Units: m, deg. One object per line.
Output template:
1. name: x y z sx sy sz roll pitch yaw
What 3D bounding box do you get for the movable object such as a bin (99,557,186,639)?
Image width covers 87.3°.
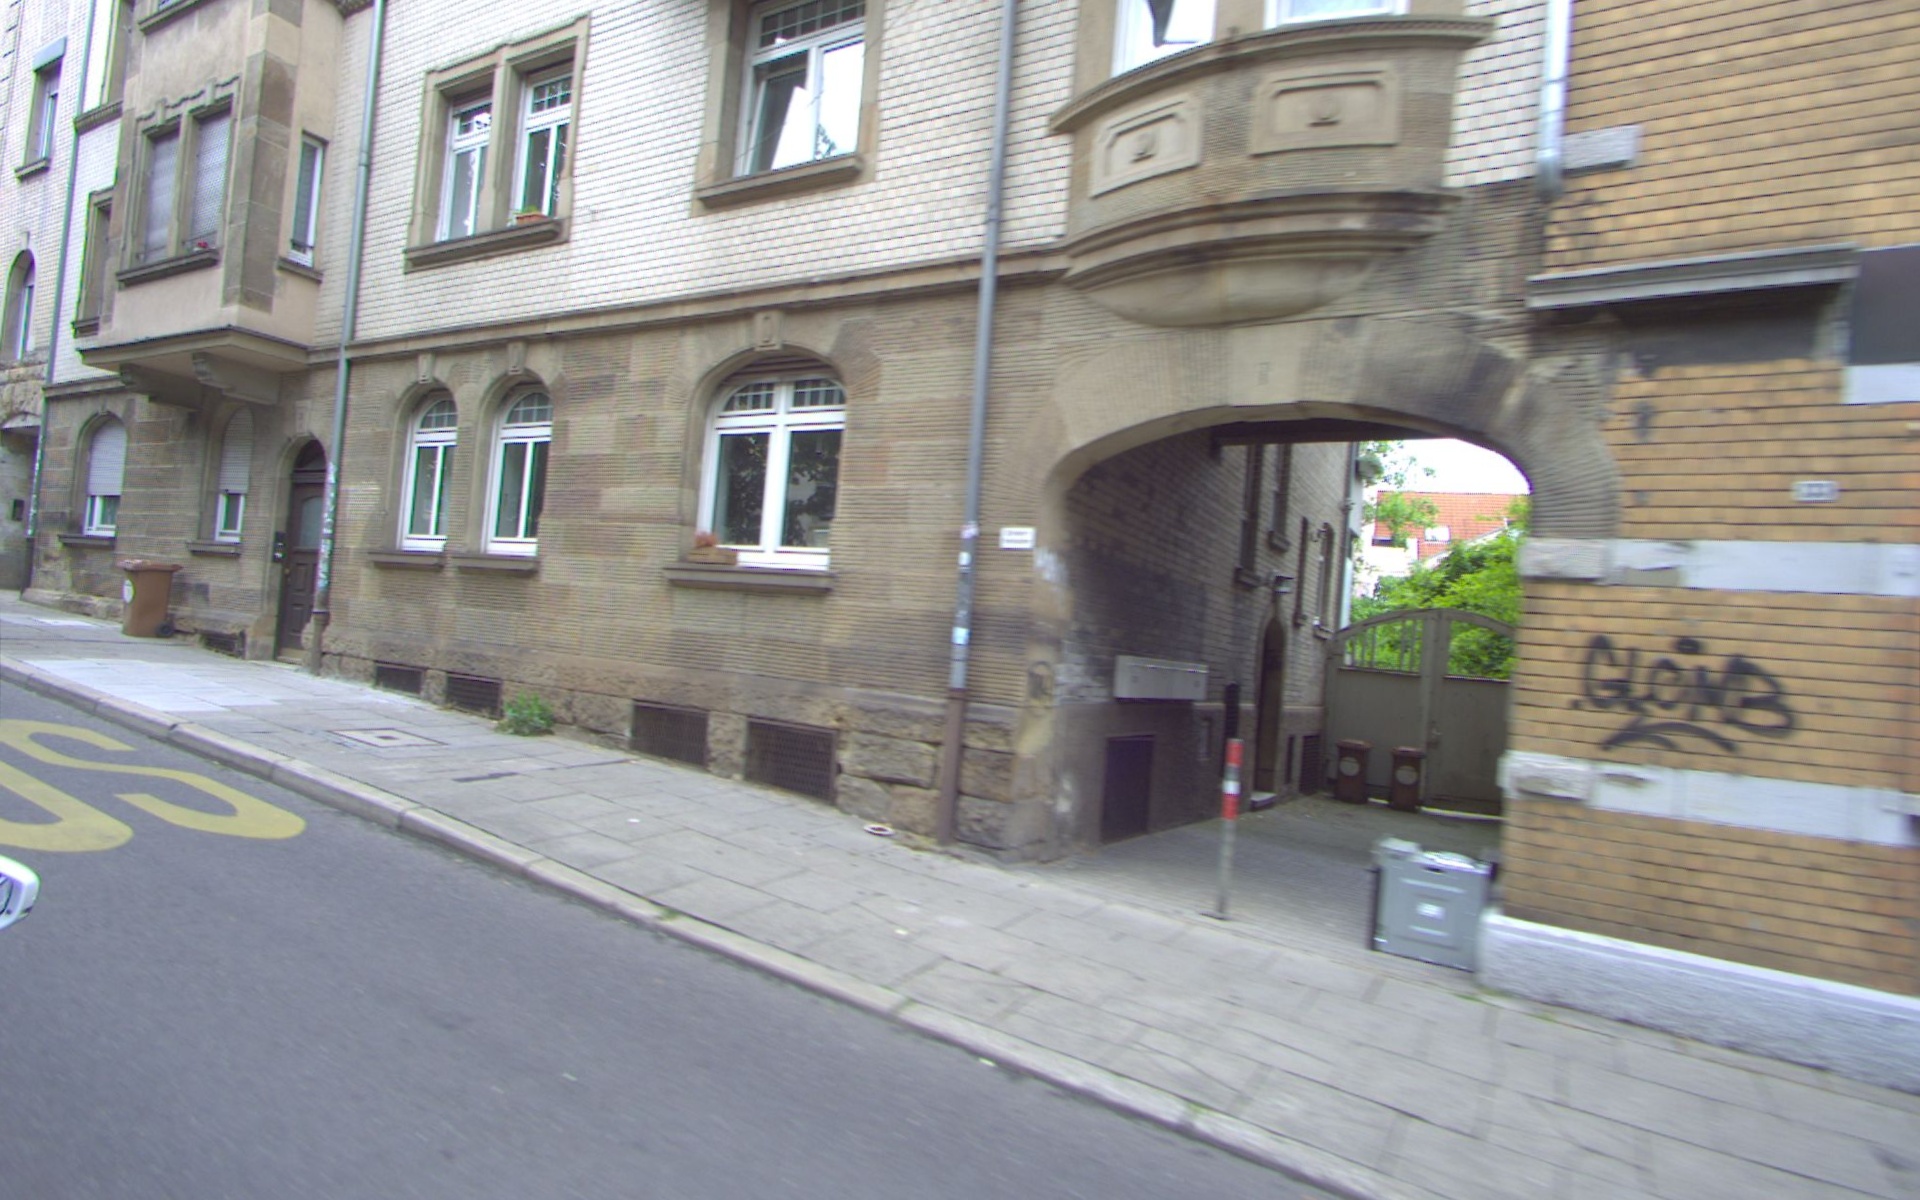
1. movable object such as a bin: -10.166 -0.015 12.516 0.553 0.914 0.595 6 -2 31

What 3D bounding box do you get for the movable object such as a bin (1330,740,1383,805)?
1. movable object such as a bin: 6.018 2.605 15.269 0.590 0.865 0.661 5 -3 31

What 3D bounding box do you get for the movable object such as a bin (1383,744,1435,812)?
1. movable object such as a bin: 6.712 2.650 15.032 0.590 0.902 0.567 5 -3 31
